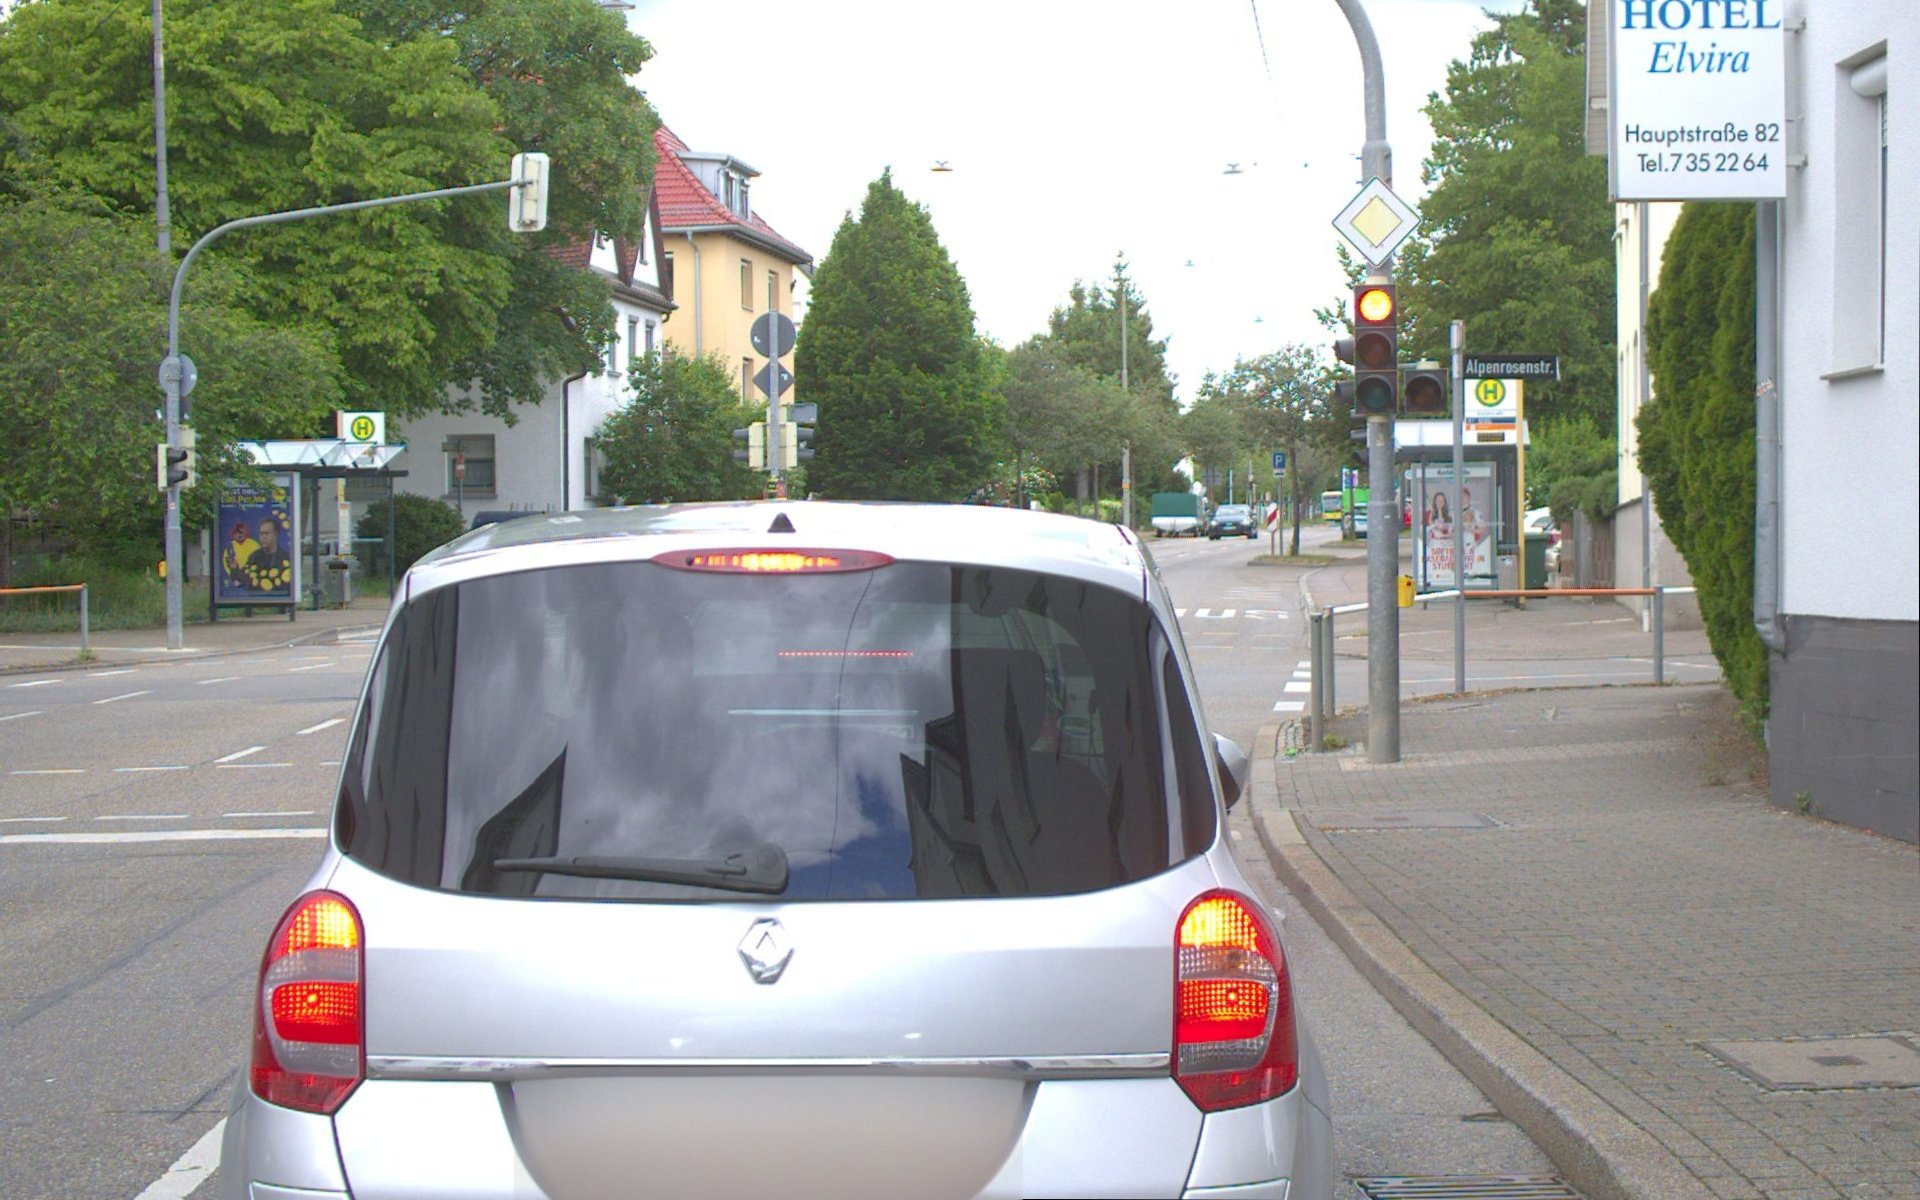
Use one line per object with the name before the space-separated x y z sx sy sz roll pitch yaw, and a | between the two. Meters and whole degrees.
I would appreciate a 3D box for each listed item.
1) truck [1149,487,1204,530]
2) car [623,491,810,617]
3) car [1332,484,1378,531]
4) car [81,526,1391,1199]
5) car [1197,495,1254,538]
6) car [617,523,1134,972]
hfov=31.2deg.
truck | 10.495 -4.428 166.517 2.102 2.007 5.745 1 1 9
car | -3.786 -0.746 54.203 1.927 1.767 3.999 -4 1 10
car | 22.052 -5.145 191.778 2.060 2.503 5.593 1 1 11
car | -0.338 0.638 6.626 1.755 1.525 4.000 0 1 -1
car | 10.928 -3.424 141.318 1.858 1.742 3.998 1 1 11
car | -0.322 0.477 13.646 1.755 1.525 3.797 0 1 -1
